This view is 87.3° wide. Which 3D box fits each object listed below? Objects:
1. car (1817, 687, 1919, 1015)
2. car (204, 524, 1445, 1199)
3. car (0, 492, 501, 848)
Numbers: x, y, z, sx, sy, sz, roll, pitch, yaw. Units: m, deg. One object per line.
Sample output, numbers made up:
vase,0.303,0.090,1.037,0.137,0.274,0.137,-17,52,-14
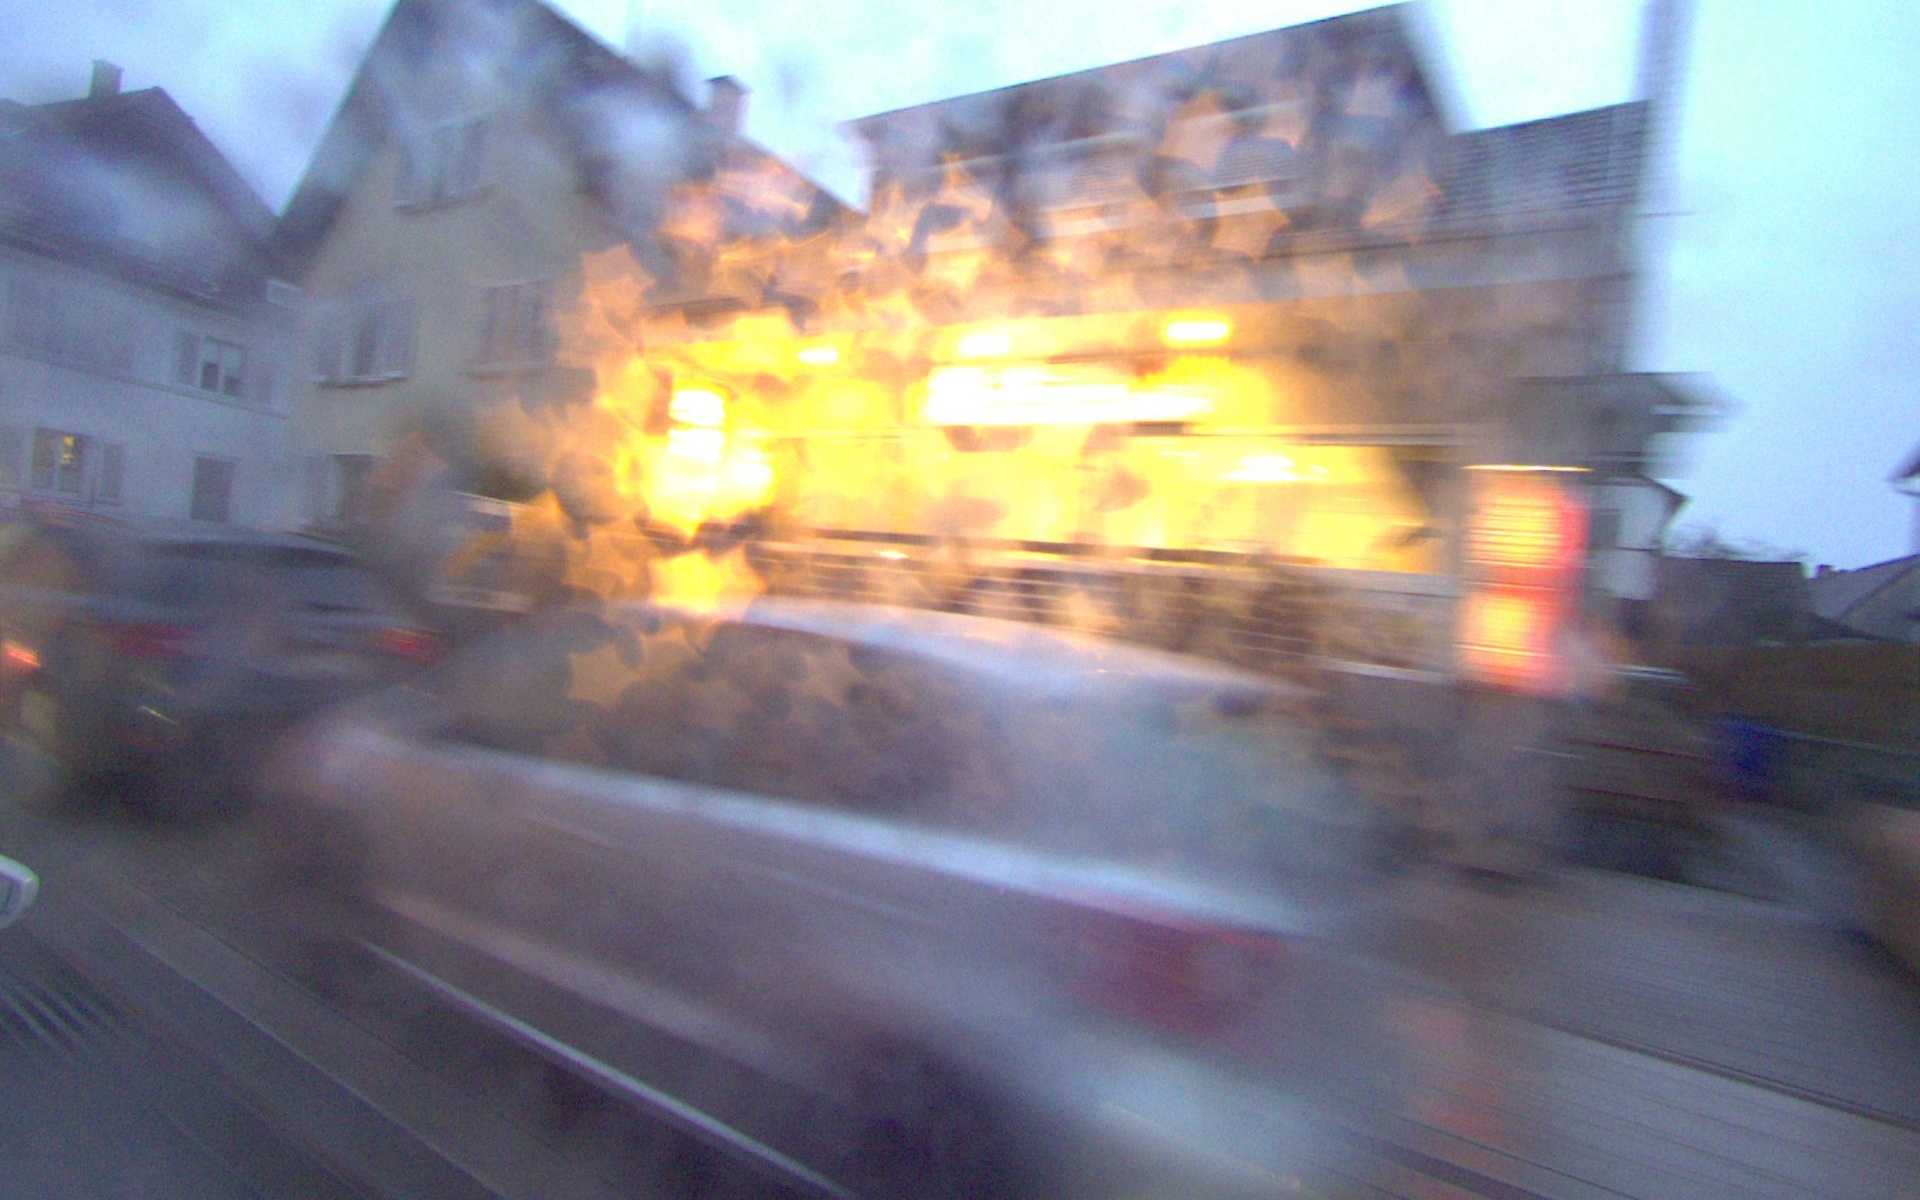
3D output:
car,5.497,1.325,4.617,1.658,1.460,3.291,6,2,30
car,-0.665,0.664,3.253,3.738,1.460,1.626,7,2,33
car,-5.110,0.147,6.175,4.530,1.442,1.824,6,2,30
